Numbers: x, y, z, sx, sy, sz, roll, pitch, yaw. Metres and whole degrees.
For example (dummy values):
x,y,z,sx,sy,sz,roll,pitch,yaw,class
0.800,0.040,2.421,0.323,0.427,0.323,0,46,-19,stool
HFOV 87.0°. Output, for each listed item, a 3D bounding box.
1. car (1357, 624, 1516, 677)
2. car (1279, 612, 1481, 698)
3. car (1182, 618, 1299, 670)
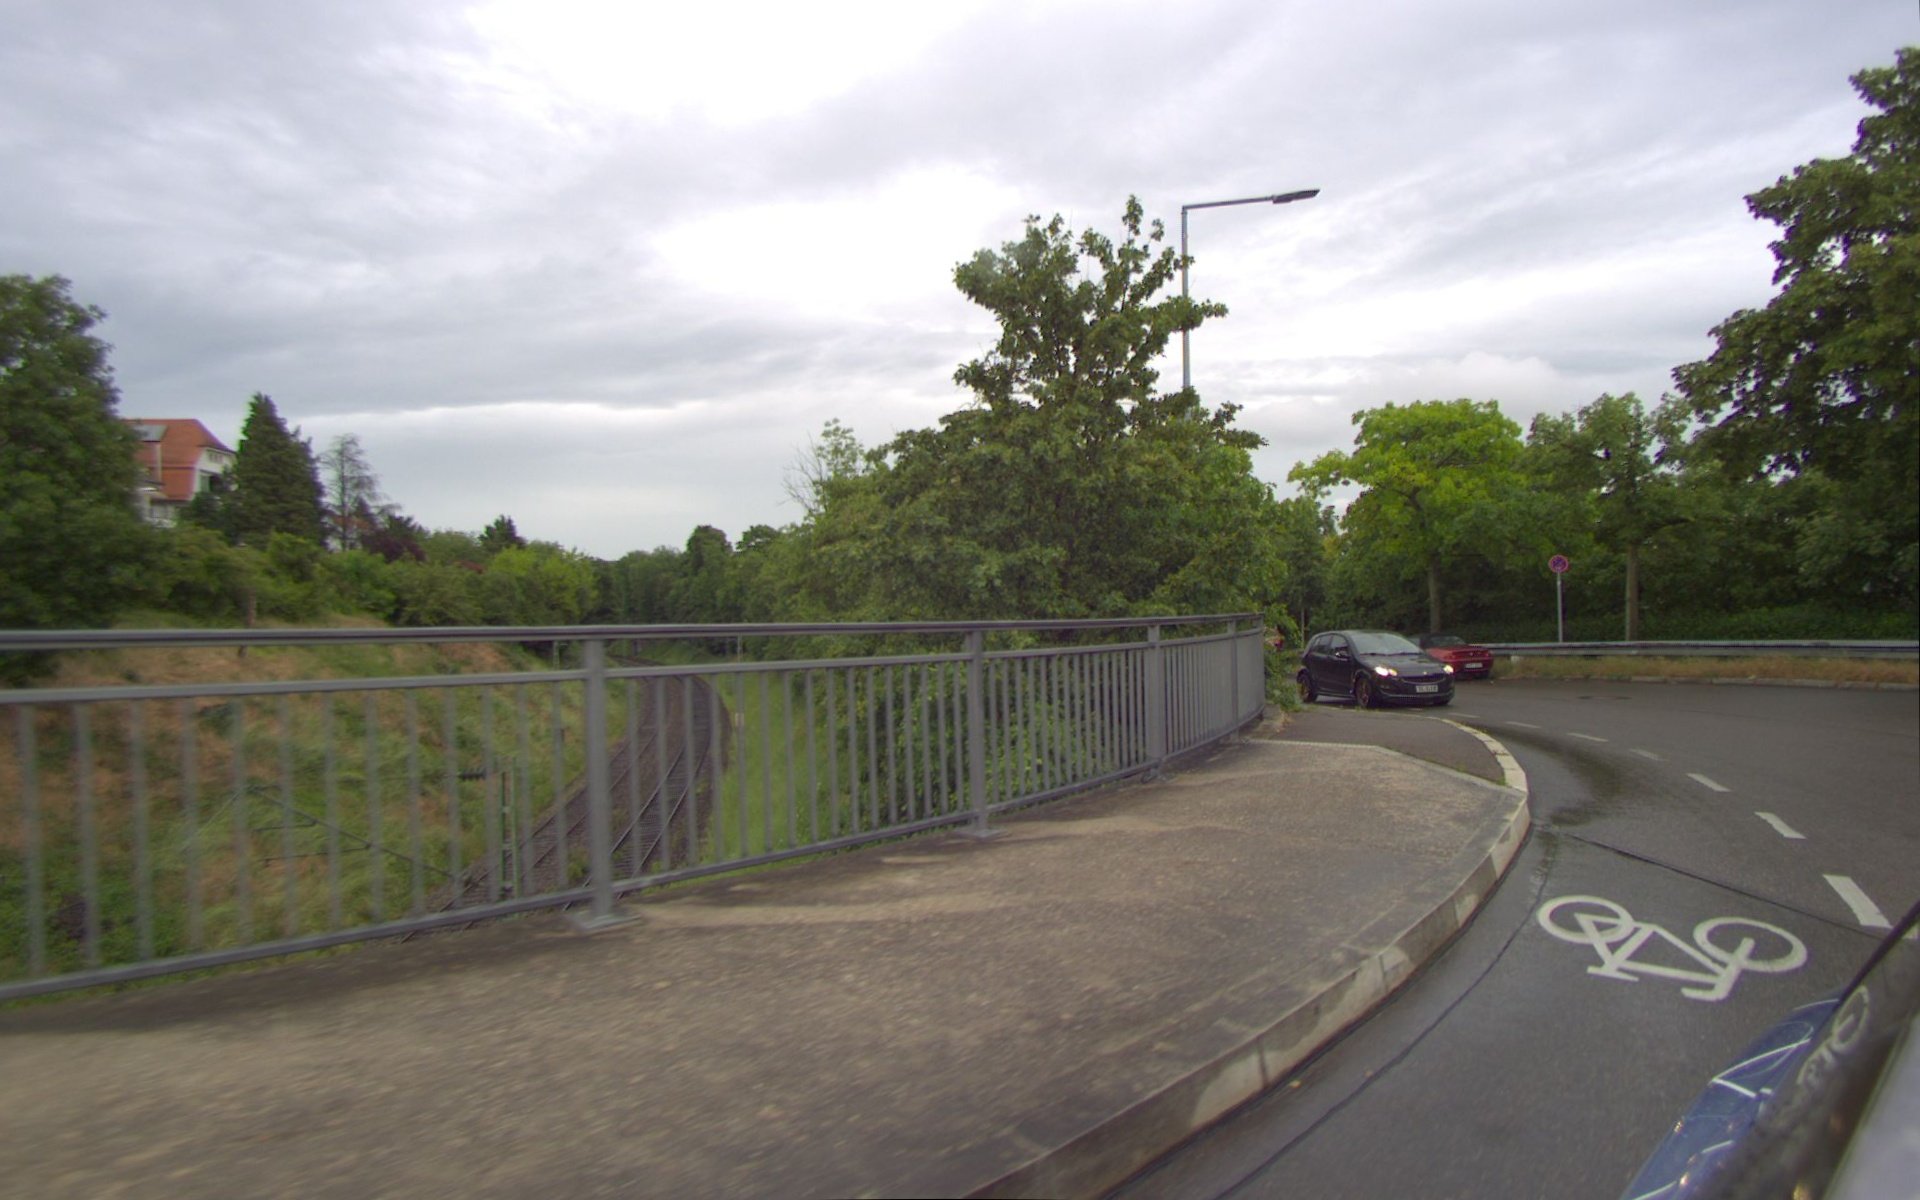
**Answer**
x,y,z,sx,sy,sz,roll,pitch,yaw,class
13.106,1.397,28.189,1.758,1.314,4.330,-1,-2,-10,car
8.137,1.136,20.095,1.769,1.446,4.385,3,-5,-7,car
10.708,1.703,39.120,2.047,1.843,5.388,-1,-2,-12,car
